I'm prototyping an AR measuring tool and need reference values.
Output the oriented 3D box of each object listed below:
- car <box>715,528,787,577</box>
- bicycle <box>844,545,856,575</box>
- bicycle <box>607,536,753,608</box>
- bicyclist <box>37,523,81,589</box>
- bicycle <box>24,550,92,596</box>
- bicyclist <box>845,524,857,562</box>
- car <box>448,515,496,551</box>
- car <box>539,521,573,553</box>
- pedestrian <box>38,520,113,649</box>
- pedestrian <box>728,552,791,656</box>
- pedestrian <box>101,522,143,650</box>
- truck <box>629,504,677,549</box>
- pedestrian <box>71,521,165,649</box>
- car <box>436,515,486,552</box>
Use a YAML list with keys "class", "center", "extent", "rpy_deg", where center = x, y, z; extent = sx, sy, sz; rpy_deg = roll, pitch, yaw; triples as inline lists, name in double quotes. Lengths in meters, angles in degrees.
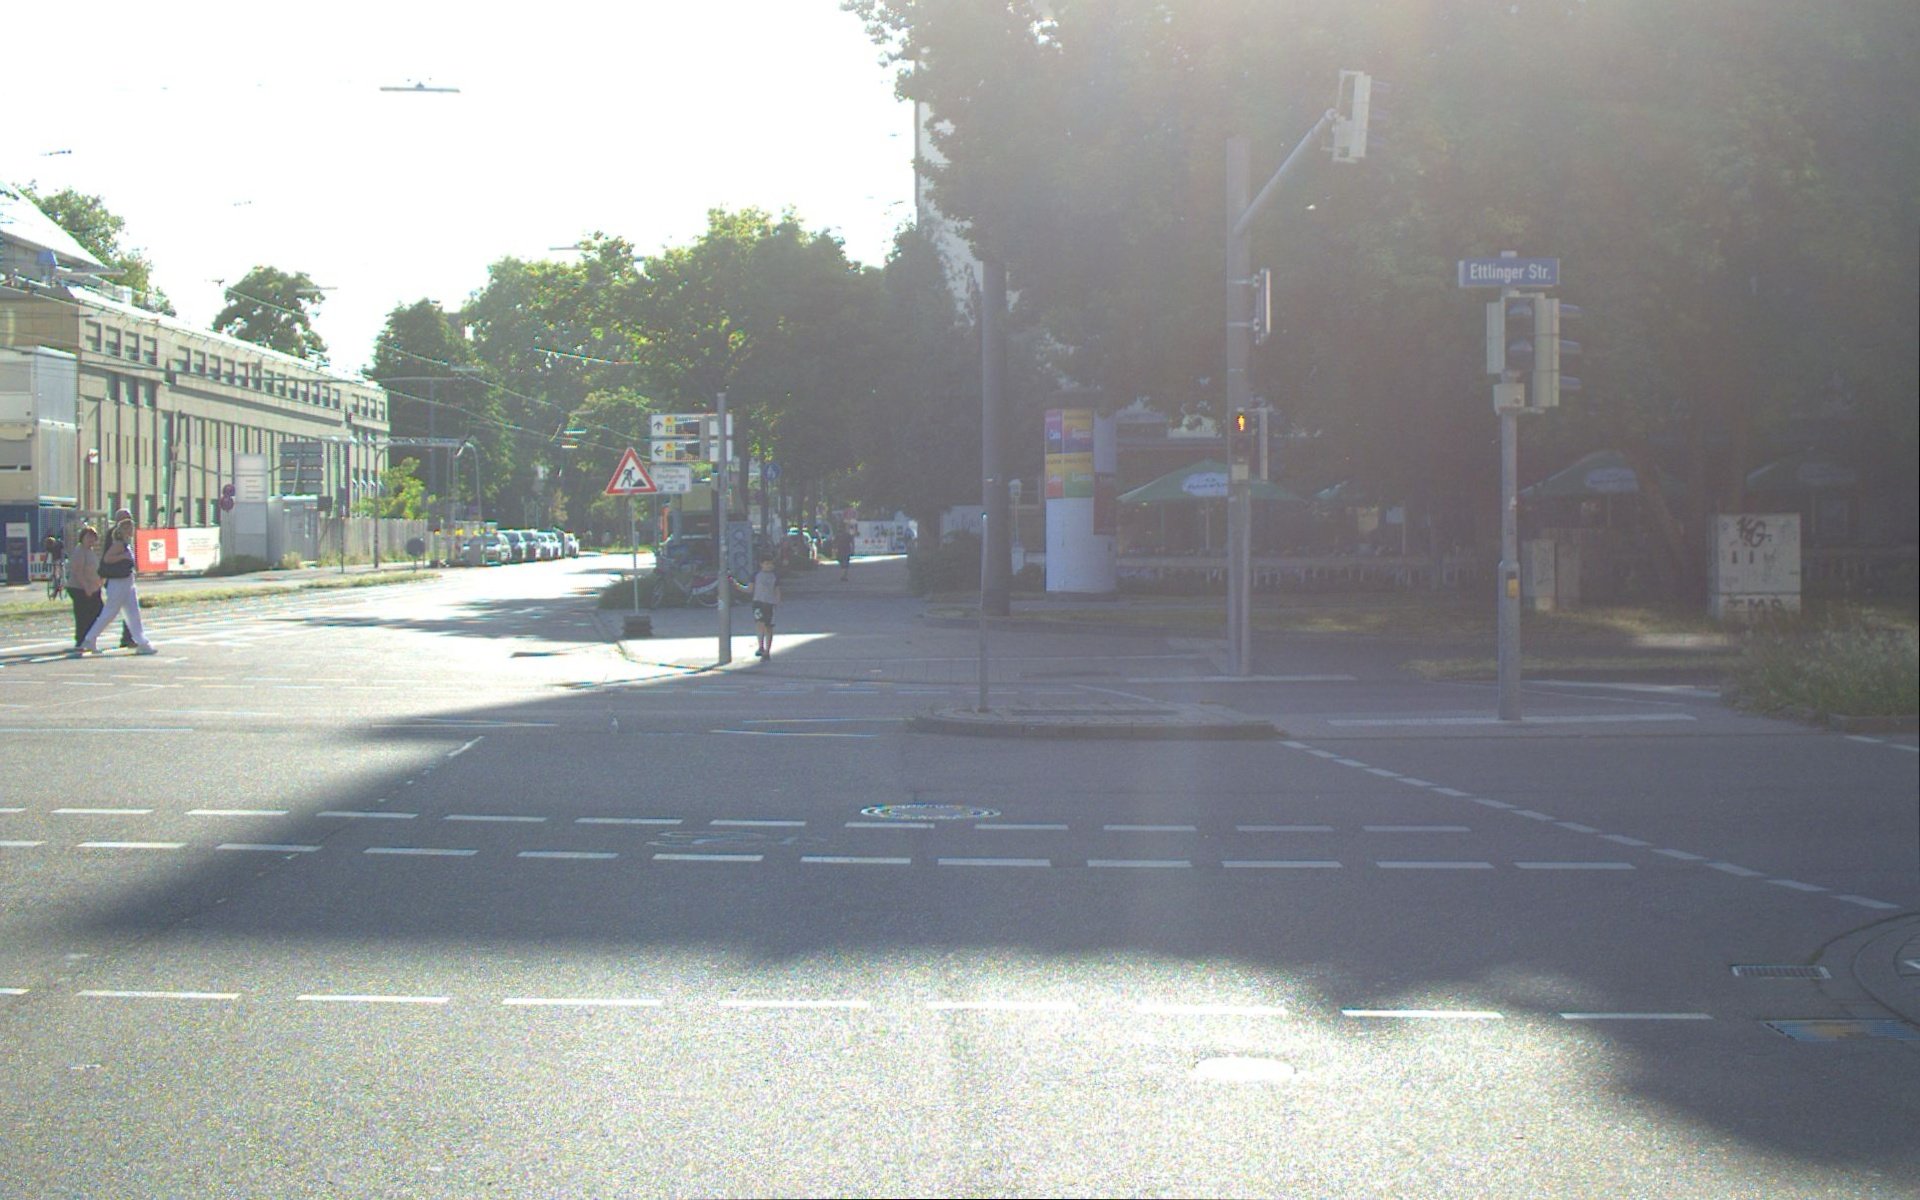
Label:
- class: "car"
  center: [-5.529, -1.268, 91.274]
  extent: [1.819, 1.274, 4.001]
  rpy_deg: [0, 1, -3]
- class: "bicycle"
  center: [-3.223, -1.172, 100.796]
  extent: [0.324, 0.865, 1.483]
  rpy_deg: [-1, 1, -1]
- class: "bicycle"
  center: [-5.464, -0.551, 67.138]
  extent: [2.748, 1.363, 0.630]
  rpy_deg: [1, 0, 11]
- class: "bicyclist"
  center: [-22.588, -1.113, 86.192]
  extent: [0.875, 1.636, 0.822]
  rpy_deg: [0, 1, 1]
- class: "bicycle"
  center: [-22.587, -0.678, 86.149]
  extent: [0.875, 1.117, 3.013]
  rpy_deg: [0, 1, 1]
- class: "bicyclist"
  center: [-3.198, -1.676, 100.834]
  extent: [0.318, 1.123, 0.291]
  rpy_deg: [-1, 1, -1]
- class: "car"
  center: [-22.713, -3.127, 160.102]
  extent: [1.731, 1.647, 4.000]
  rpy_deg: [0, 1, -1]
- class: "car"
  center: [-22.820, -3.564, 194.283]
  extent: [1.483, 1.744, 4.000]
  rpy_deg: [-1, 1, -1]
- class: "pedestrian"
  center: [-11.277, -0.204, 43.831]
  extent: [0.795, 1.634, 0.533]
  rpy_deg: [0, 1, 2]
- class: "pedestrian"
  center: [-2.595, 0.044, 44.519]
  extent: [0.752, 1.328, 0.742]
  rpy_deg: [0, 1, 1]
- class: "pedestrian"
  center: [-10.914, -0.180, 44.791]
  extent: [0.441, 1.657, 0.376]
  rpy_deg: [-1, 1, -1]
- class: "truck"
  center: [-14.317, -3.429, 160.293]
  extent: [1.915, 2.085, 4.000]
  rpy_deg: [0, 1, -1]
- class: "pedestrian"
  center: [-10.509, -0.186, 42.932]
  extent: [0.984, 1.582, 0.660]
  rpy_deg: [0, 0, 1]
- class: "car"
  center: [-22.634, -2.995, 156.027]
  extent: [1.731, 1.647, 4.000]
  rpy_deg: [0, 1, -1]
